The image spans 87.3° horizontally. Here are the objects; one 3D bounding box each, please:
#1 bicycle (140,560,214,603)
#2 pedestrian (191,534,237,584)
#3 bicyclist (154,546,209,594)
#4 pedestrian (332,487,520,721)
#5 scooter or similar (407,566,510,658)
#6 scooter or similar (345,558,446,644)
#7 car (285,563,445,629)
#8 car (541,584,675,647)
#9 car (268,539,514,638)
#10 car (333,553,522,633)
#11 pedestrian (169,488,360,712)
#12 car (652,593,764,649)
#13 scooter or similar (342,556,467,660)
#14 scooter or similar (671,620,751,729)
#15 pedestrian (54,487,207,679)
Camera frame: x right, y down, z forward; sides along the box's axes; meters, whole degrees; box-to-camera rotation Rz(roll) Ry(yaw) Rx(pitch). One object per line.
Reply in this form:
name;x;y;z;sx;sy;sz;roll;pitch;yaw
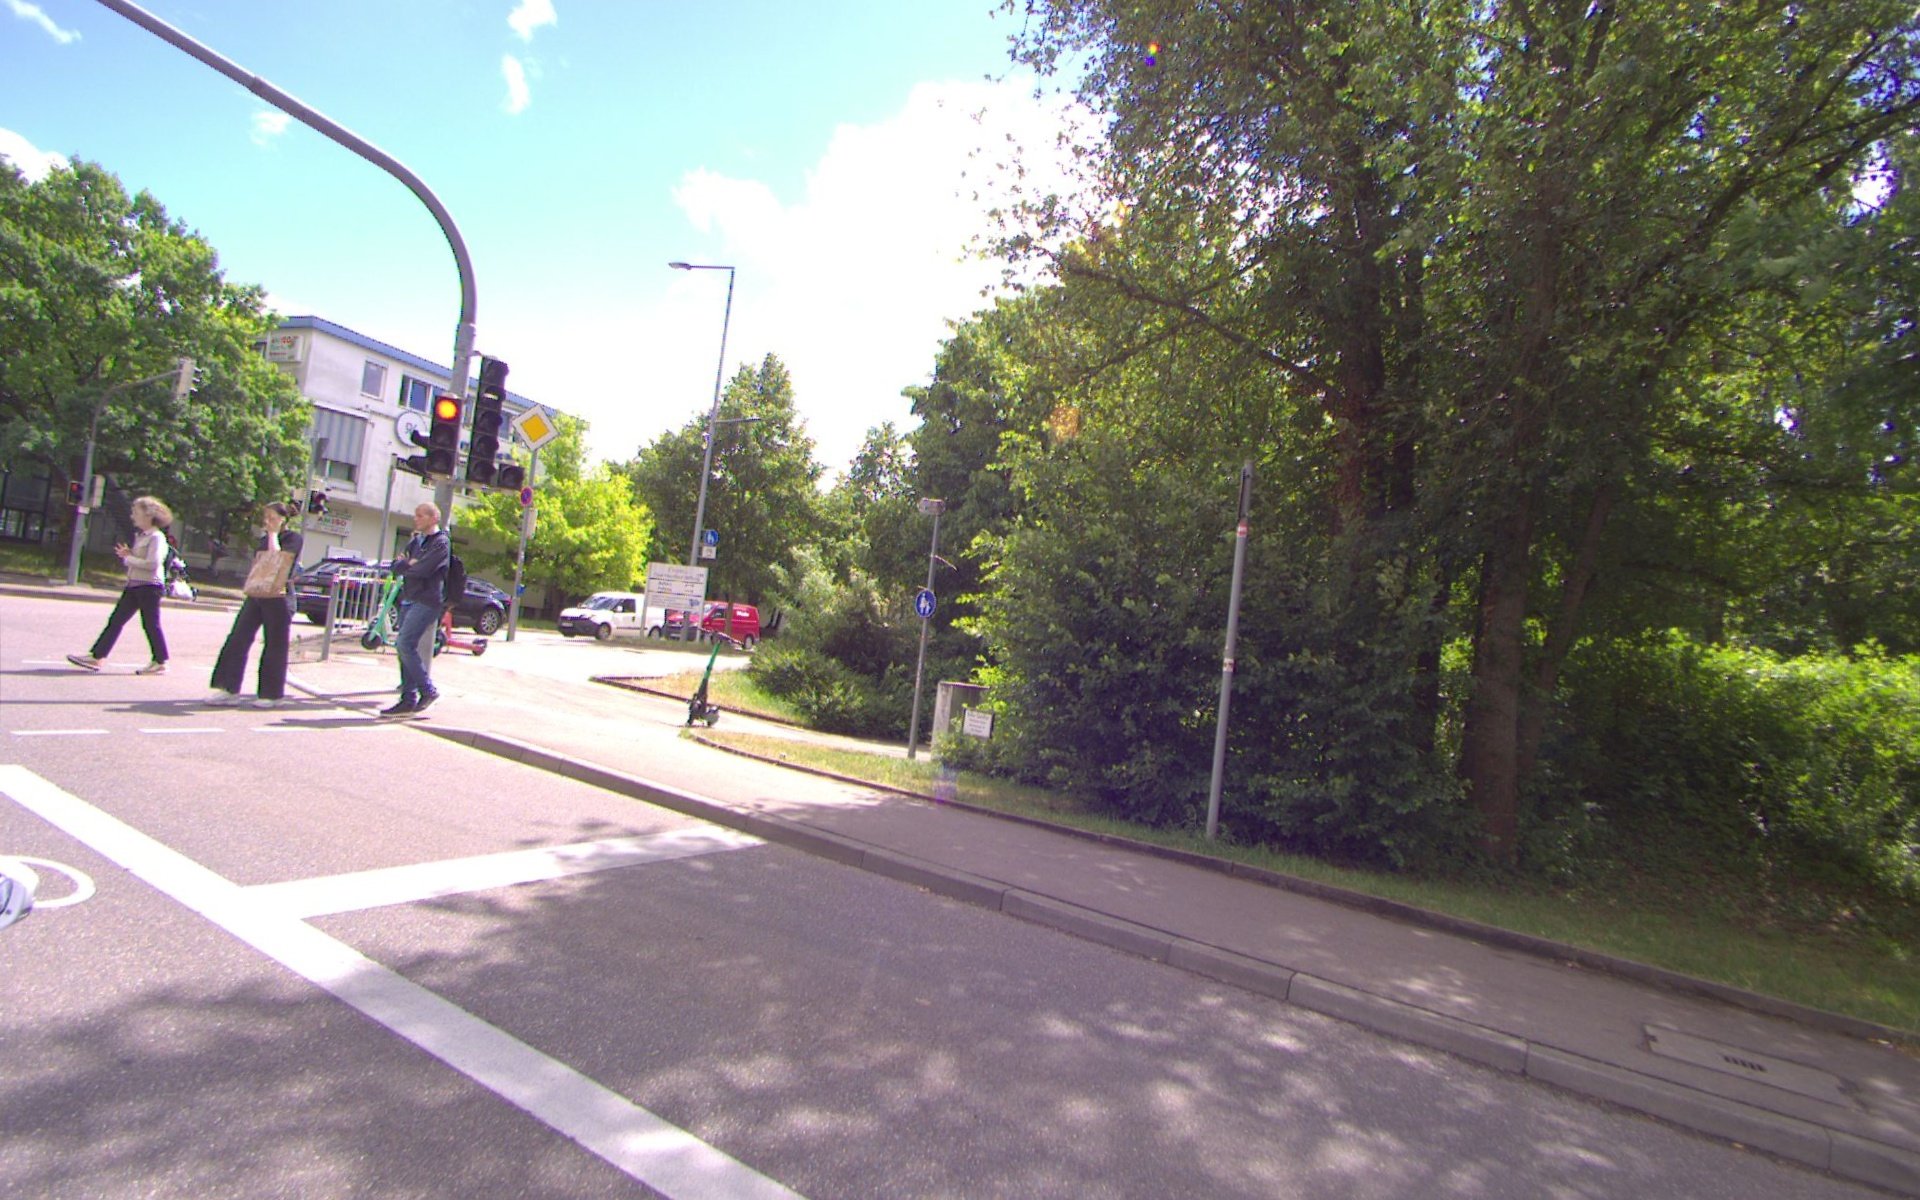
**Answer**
bicycle;-19.462;-0.472;24.994;1.778;0.828;0.793;6;-2;32
pedestrian;-27.299;-1.498;36.818;0.890;1.662;0.772;7;-1;16
bicyclist;-19.257;-0.743;24.892;0.625;1.034;0.793;7;-2;31
pedestrian;-4.859;0.057;9.202;0.881;1.964;0.968;7;-1;28
scooter or similar;-7.898;0.205;15.893;0.547;1.254;1.231;8;-3;23
scooter or similar;-8.907;0.042;15.925;0.533;1.168;1.362;9;-3;7
car;-18.953;-0.081;32.258;1.963;1.573;3.923;7;-2;21
car;-12.912;0.628;37.228;1.963;1.737;4.576;7;-2;23
car;-12.065;-0.156;21.749;1.962;1.571;4.527;7;-2;13
car;-15.745;-0.152;30.032;1.964;1.737;4.574;7;-2;25
pedestrian;-6.054;0.021;8.797;0.758;1.787;0.936;7;0;20
car;-10.511;0.941;42.432;1.964;1.885;4.822;5;-3;23
scooter or similar;-7.849;0.127;14.261;0.455;1.292;1.344;8;-1;38
scooter or similar;-3.310;1.016;13.507;0.706;1.287;1.243;10;-7;-7
pedestrian;-8.051;-0.156;9.766;0.950;1.694;0.860;7;-1;-43
